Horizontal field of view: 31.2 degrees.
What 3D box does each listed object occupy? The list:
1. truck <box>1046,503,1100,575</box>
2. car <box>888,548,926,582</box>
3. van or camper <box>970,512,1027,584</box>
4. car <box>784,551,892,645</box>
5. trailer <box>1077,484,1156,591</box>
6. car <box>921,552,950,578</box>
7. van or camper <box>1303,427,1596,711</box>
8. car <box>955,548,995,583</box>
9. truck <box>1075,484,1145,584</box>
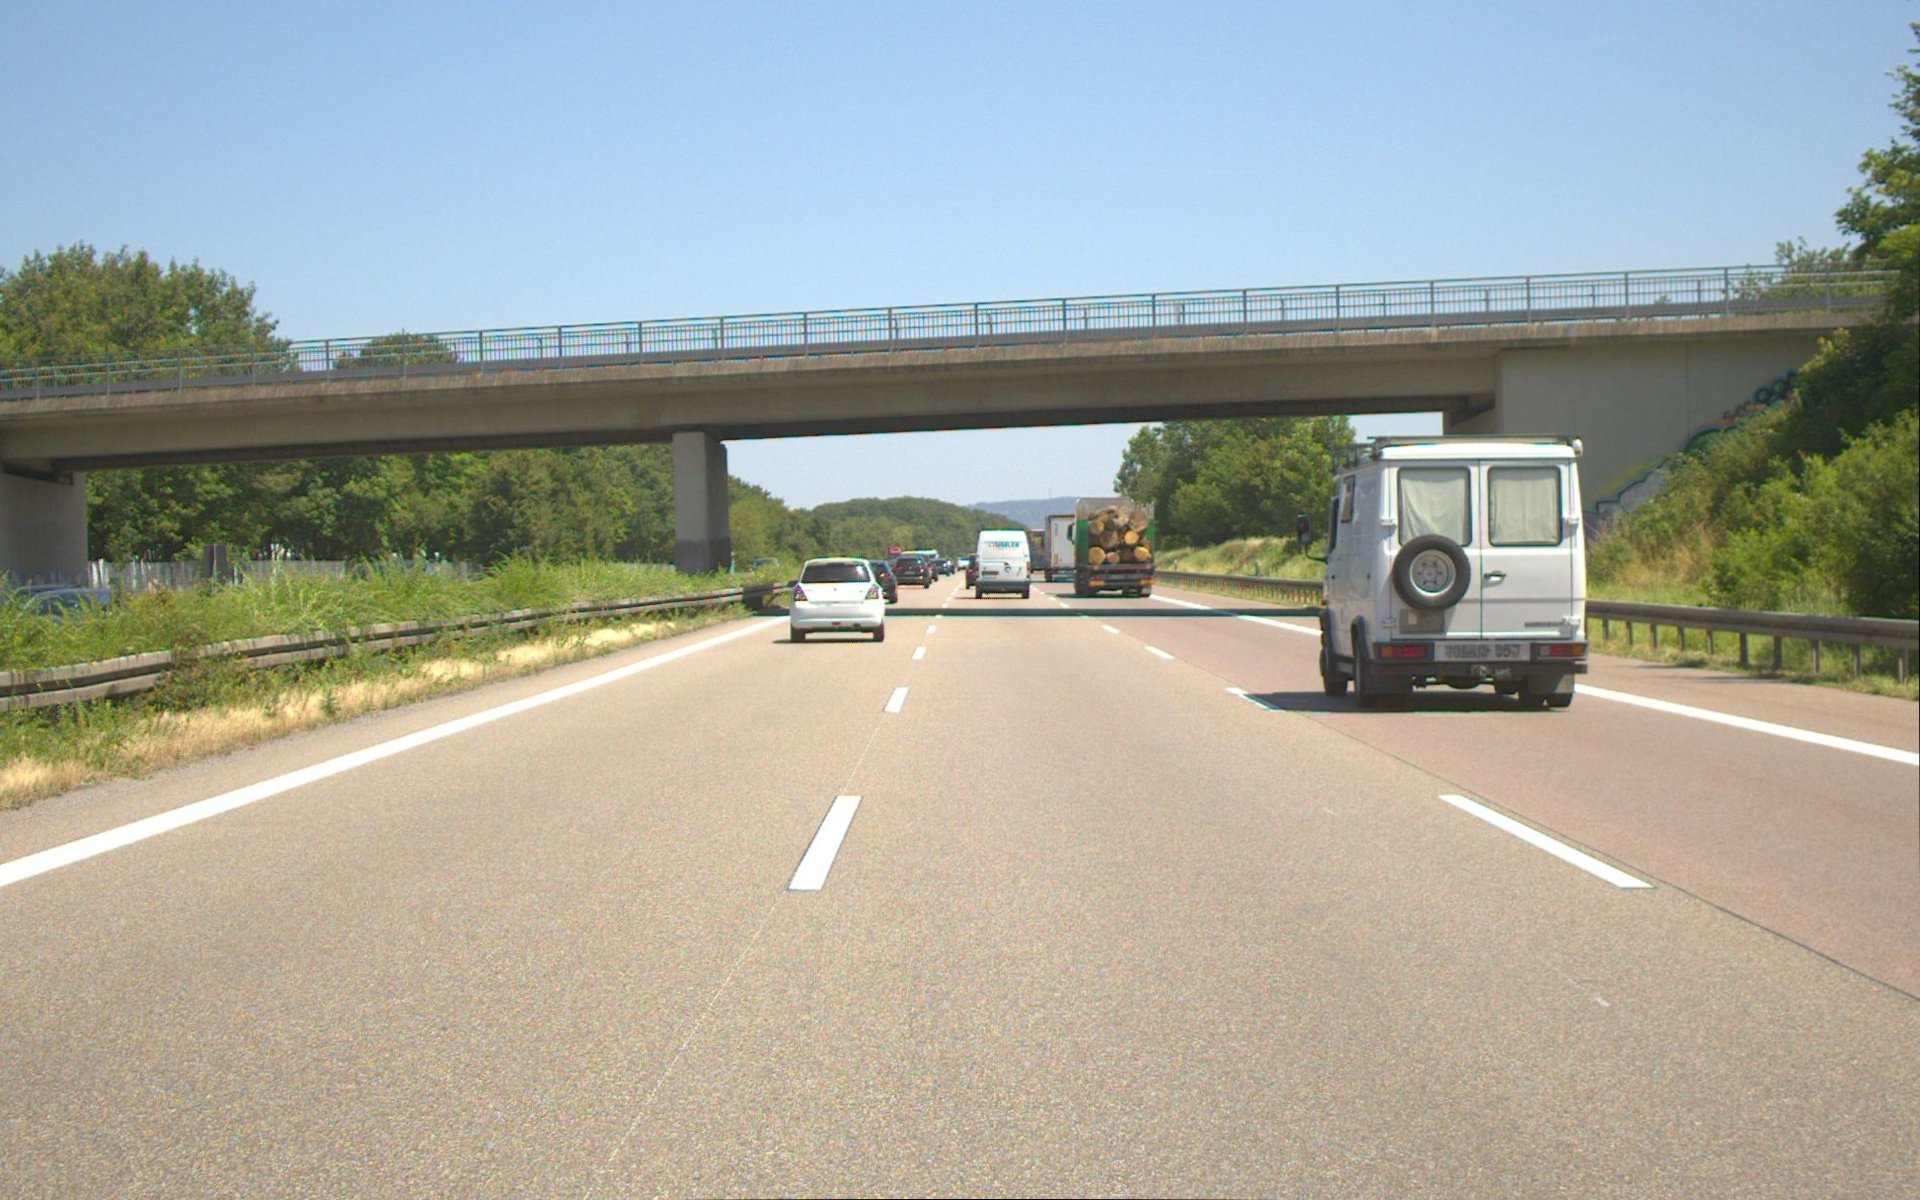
[{"bbox_3d":[6.874,-3.679,211.443,3.079,4.194,16.843,1,1,1],"label":"truck"},{"bbox_3d":[-2.618,-1.733,170.853,1.857,1.646,4.000,0,1,-1],"label":"car"},{"bbox_3d":[1.454,-1.911,128.046,2.058,2.613,5.985,0,1,1],"label":"van or camper"},{"bbox_3d":[-2.193,-0.058,62.847,1.857,1.646,4.000,1,1,-1],"label":"car"},{"bbox_3d":[5.988,-2.376,133.338,2.653,3.945,13.636,0,1,1],"label":"trailer"},{"bbox_3d":[-1.576,-2.229,220.335,1.857,1.646,4.000,0,1,-1],"label":"car"},{"bbox_3d":[4.969,-0.326,35.864,2.113,2.694,6.368,0,1,0],"label":"van or camper"},{"bbox_3d":[0.729,-1.653,165.220,1.857,1.646,4.000,0,1,-1],"label":"car"},{"bbox_3d":[6.095,-2.653,140.308,2.670,3.981,6.636,0,1,1],"label":"truck"}]
